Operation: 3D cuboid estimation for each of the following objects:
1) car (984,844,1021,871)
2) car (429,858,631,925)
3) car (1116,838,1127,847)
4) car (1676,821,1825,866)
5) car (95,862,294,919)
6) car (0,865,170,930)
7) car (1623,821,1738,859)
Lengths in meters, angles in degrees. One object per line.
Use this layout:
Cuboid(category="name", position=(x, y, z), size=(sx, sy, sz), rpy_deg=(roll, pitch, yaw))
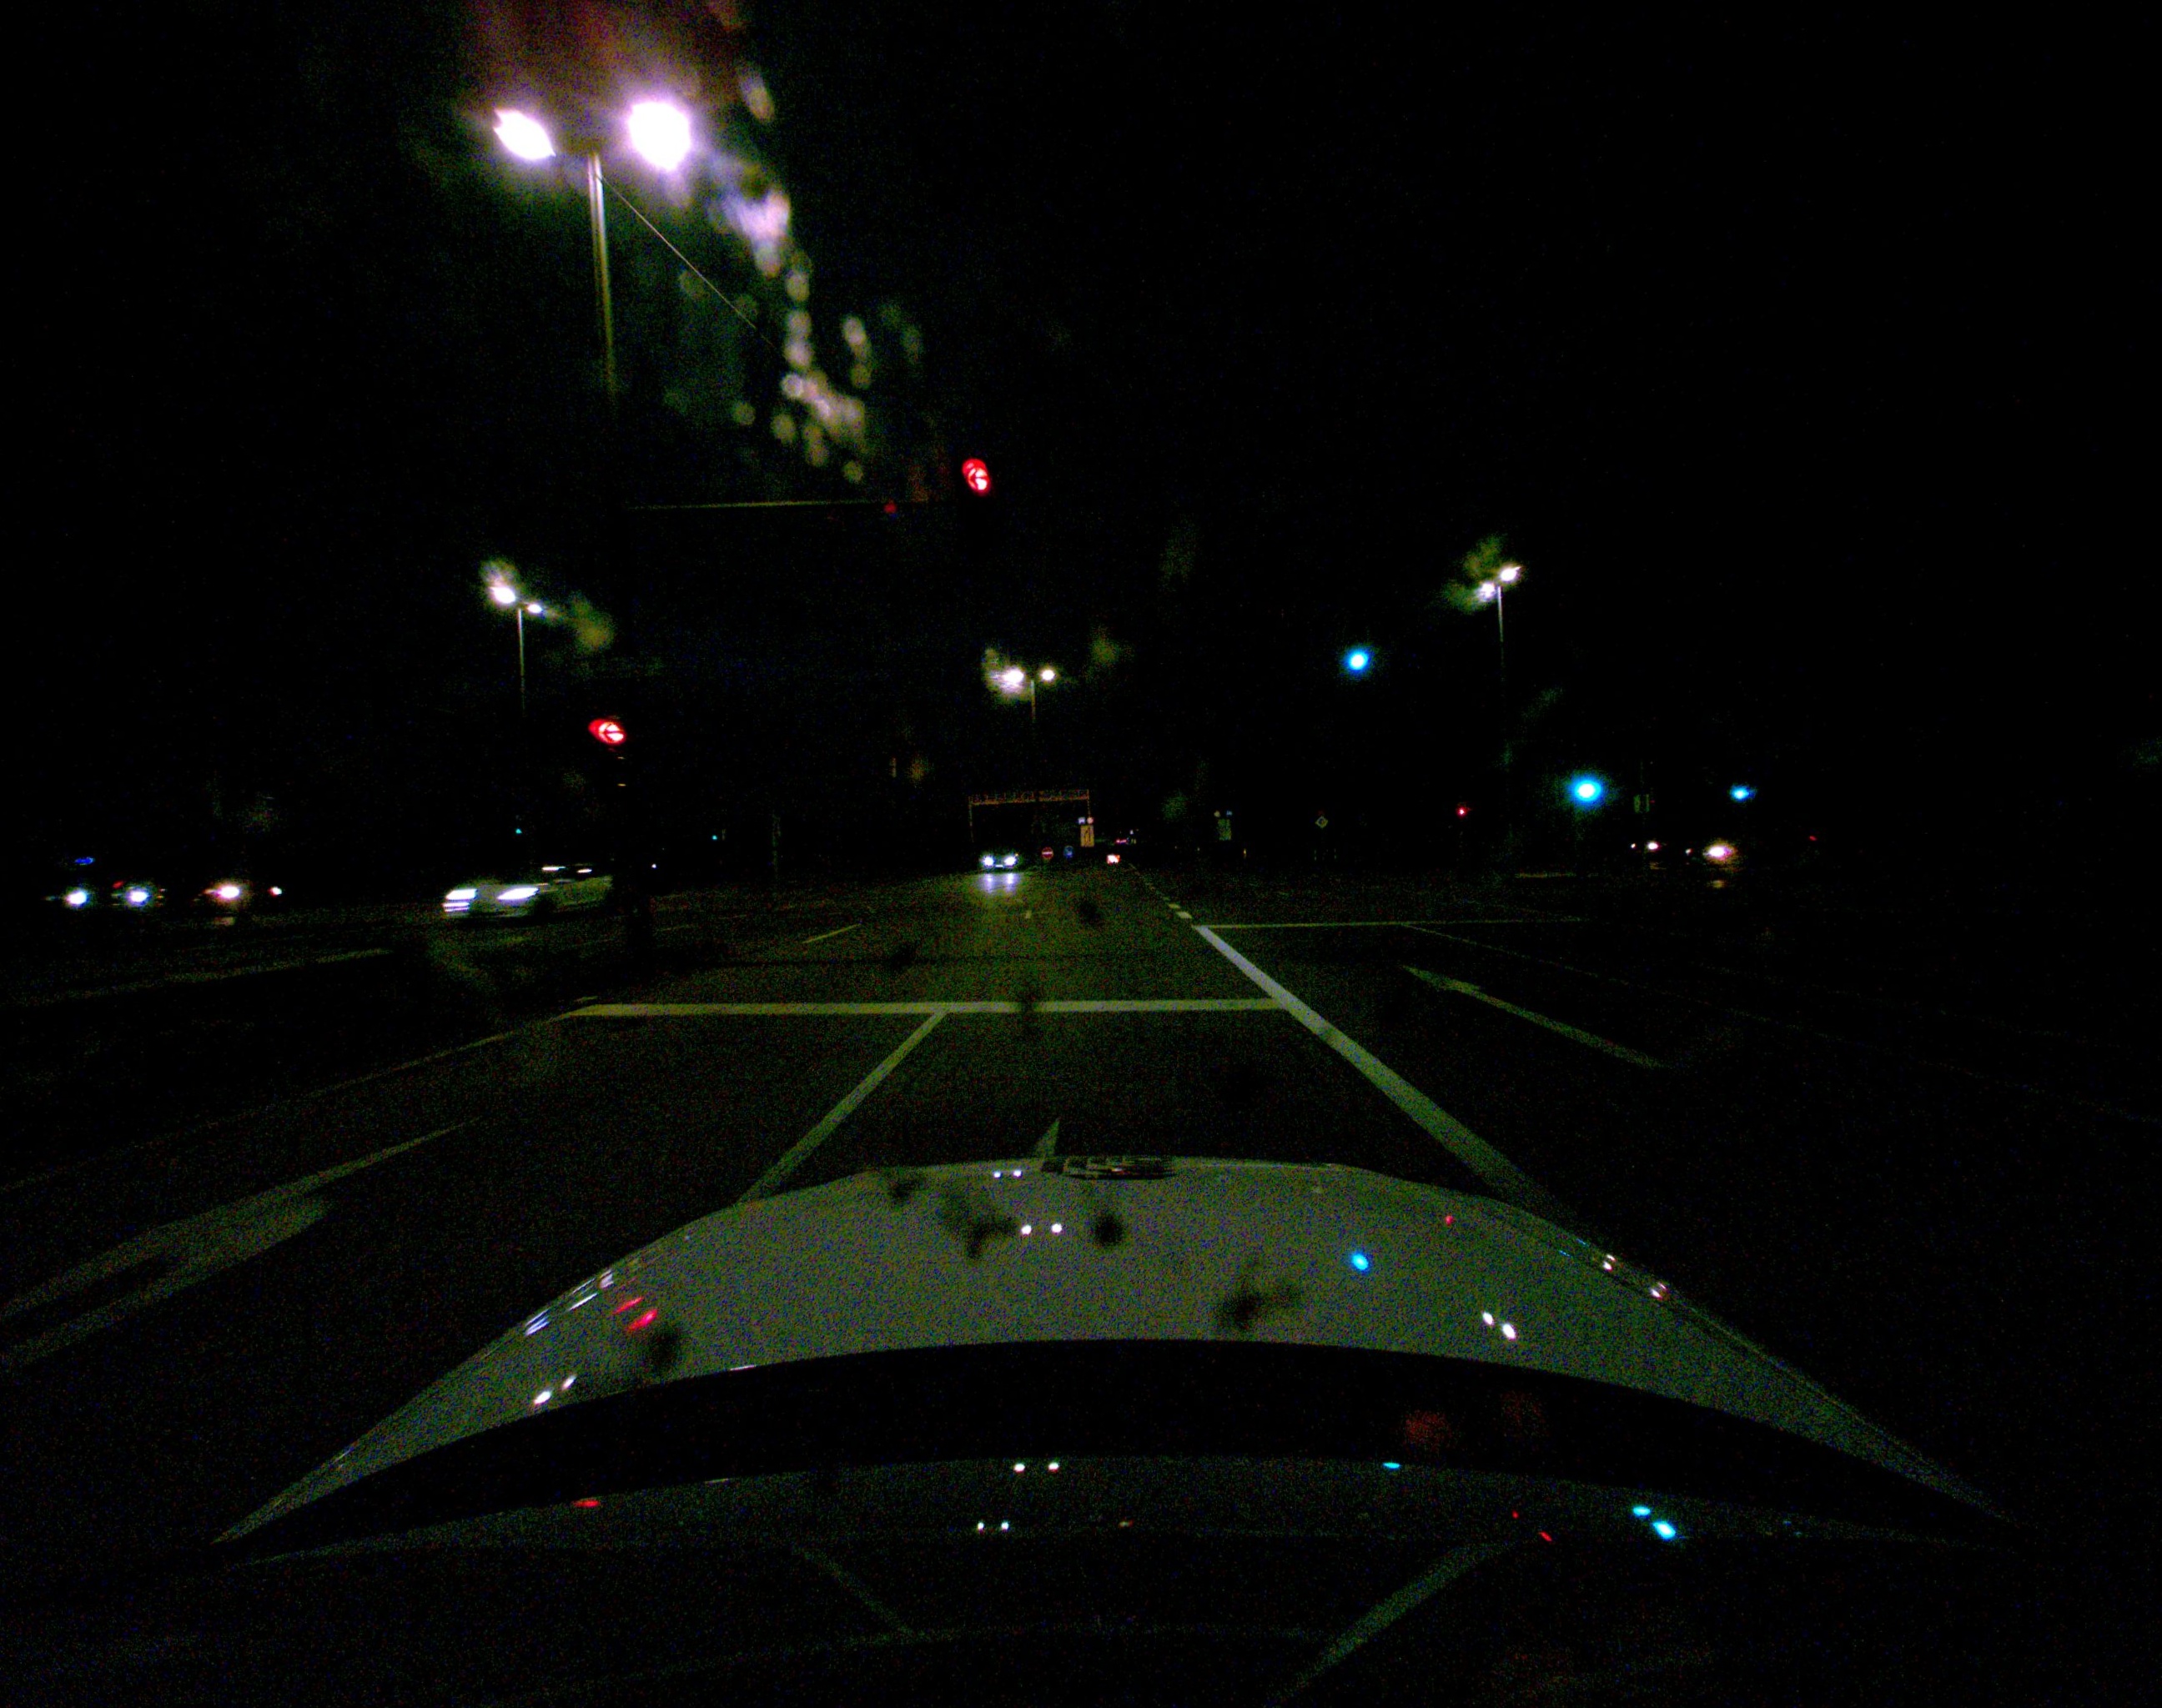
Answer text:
Cuboid(category="car", position=(-5.170, 0.209, 53.938), size=(1.987, 1.698, 4.001), rpy_deg=(-1, 1, 1))
Cuboid(category="car", position=(-13.874, 0.862, 20.907), size=(1.986, 1.425, 4.533), rpy_deg=(-1, 0, 1))
Cuboid(category="car", position=(7.871, -2.275, 157.302), size=(1.999, 1.610, 3.850), rpy_deg=(-1, 2, 4))
Cuboid(category="car", position=(25.397, -0.393, 31.000), size=(4.062, 1.569, 2.001), rpy_deg=(-2, 1, -2))
Cuboid(category="car", position=(-26.981, 1.083, 24.878), size=(4.029, 1.537, 1.728), rpy_deg=(-2, 0, -2))
Cuboid(category="car", position=(-27.159, 1.136, 21.442), size=(4.299, 1.537, 1.729), rpy_deg=(-2, 0, 0))
Cuboid(category="car", position=(27.747, -0.657, 37.778), size=(3.976, 1.569, 1.899), rpy_deg=(-2, 1, -2))
